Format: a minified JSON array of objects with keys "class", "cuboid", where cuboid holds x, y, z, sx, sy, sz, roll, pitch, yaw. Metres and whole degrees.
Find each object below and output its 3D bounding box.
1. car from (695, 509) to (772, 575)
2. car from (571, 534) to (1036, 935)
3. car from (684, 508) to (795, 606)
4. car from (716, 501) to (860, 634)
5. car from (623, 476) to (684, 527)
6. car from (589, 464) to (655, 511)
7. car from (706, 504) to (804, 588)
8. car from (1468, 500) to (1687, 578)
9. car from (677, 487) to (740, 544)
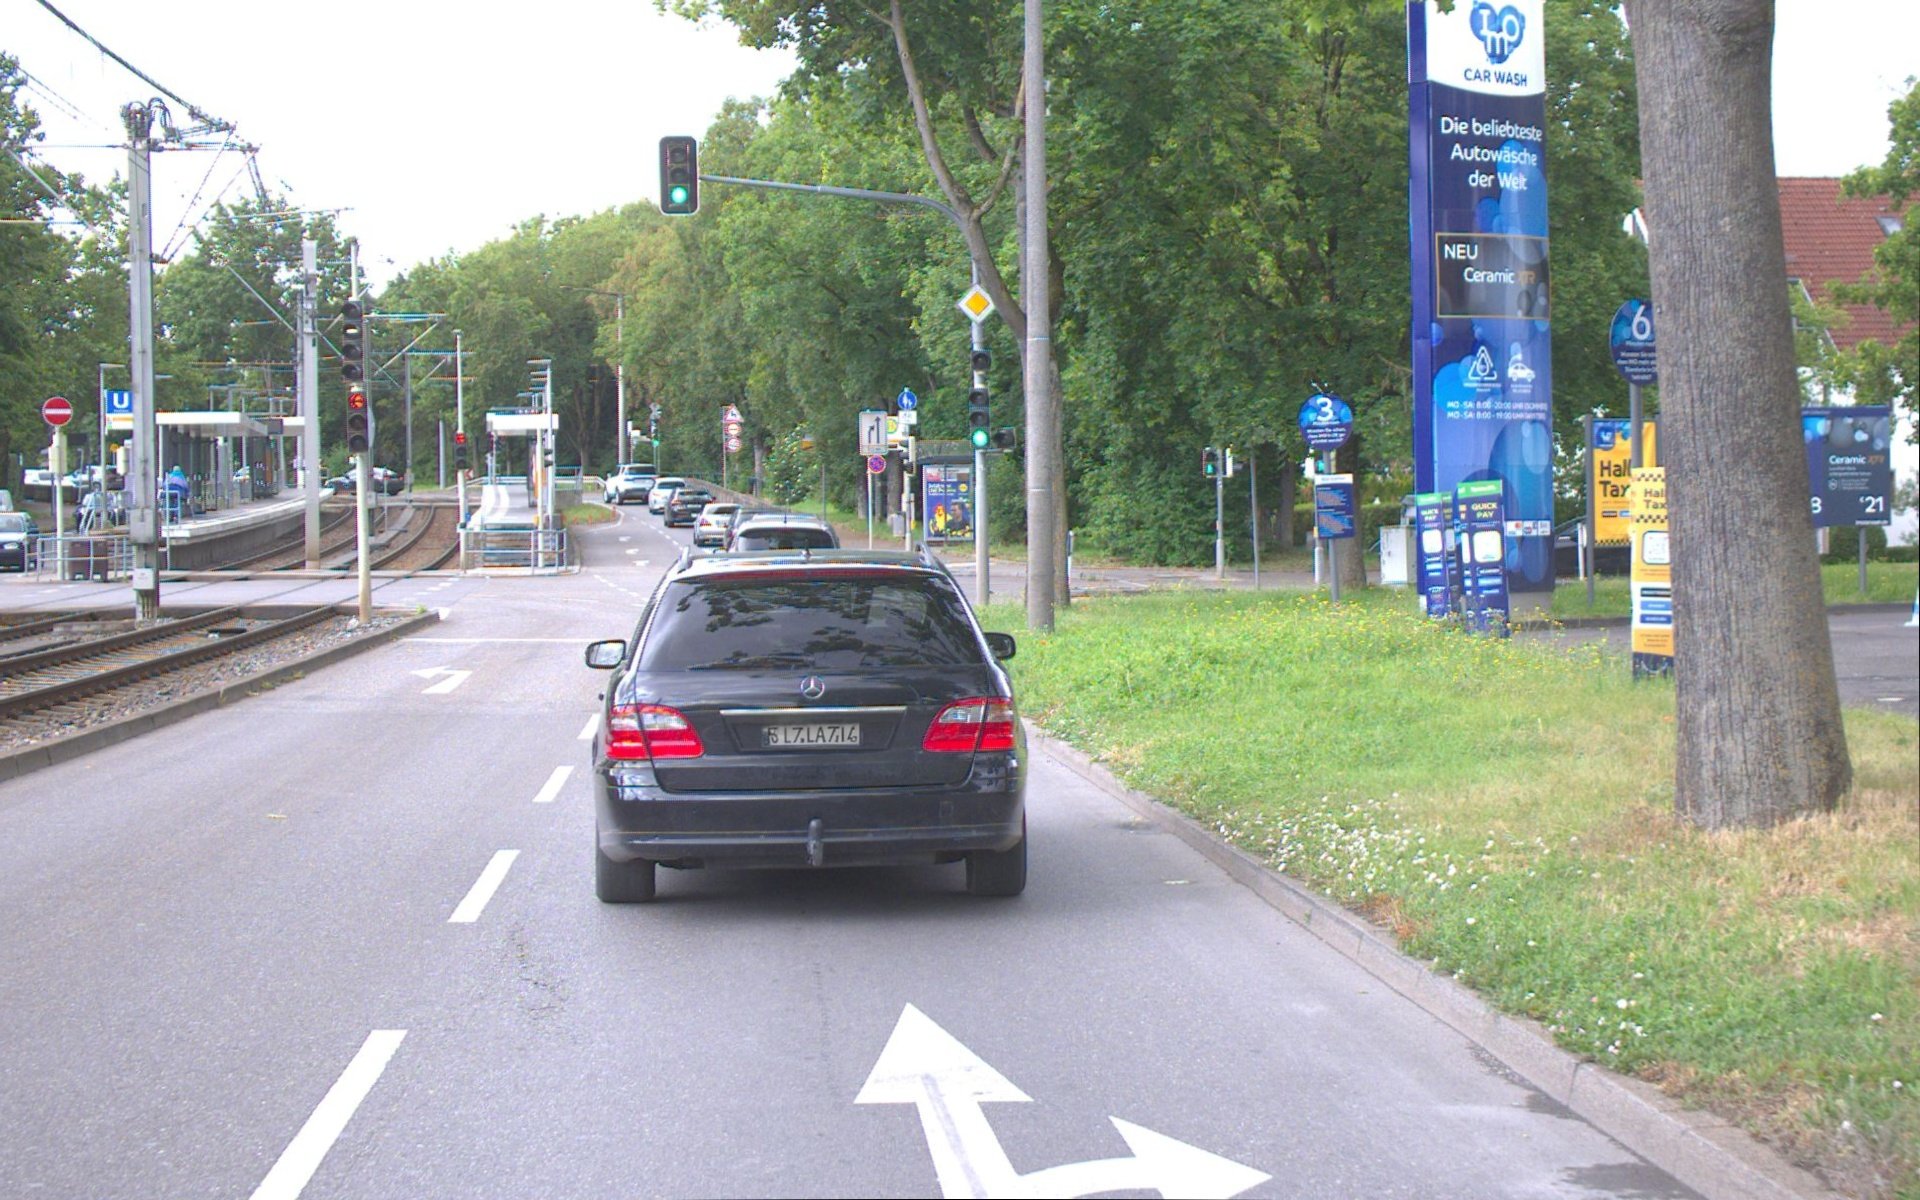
[{"class":"car","cuboid":[-6.859,-1.756,103.657,1.993,1.886,4.001,2,1,-8]},{"class":"car","cuboid":[-0.778,0.474,15.205,1.781,1.520,4.001,0,1,-5]},{"class":"car","cuboid":[-3.900,-0.774,61.304,1.781,1.642,4.000,2,1,-1]},{"class":"car","cuboid":[-2.255,-0.451,45.981,1.781,1.642,4.000,2,1,-1]},{"class":"car","cuboid":[-12.647,-4.033,141.626,1.993,2.007,4.001,2,1,-12]},{"class":"car","cuboid":[-15.349,-5.096,155.950,1.993,2.007,4.001,1,1,-20]},{"class":"car","cuboid":[-4.920,-1.300,82.232,1.993,1.911,4.001,2,1,-8]},{"class":"car","cuboid":[12.445,-1.237,69.443,4.152,1.520,1.704,0,1,2]},{"class":"car","cuboid":[-9.135,-3.055,124.666,1.993,1.960,4.001,2,1,-8]}]
